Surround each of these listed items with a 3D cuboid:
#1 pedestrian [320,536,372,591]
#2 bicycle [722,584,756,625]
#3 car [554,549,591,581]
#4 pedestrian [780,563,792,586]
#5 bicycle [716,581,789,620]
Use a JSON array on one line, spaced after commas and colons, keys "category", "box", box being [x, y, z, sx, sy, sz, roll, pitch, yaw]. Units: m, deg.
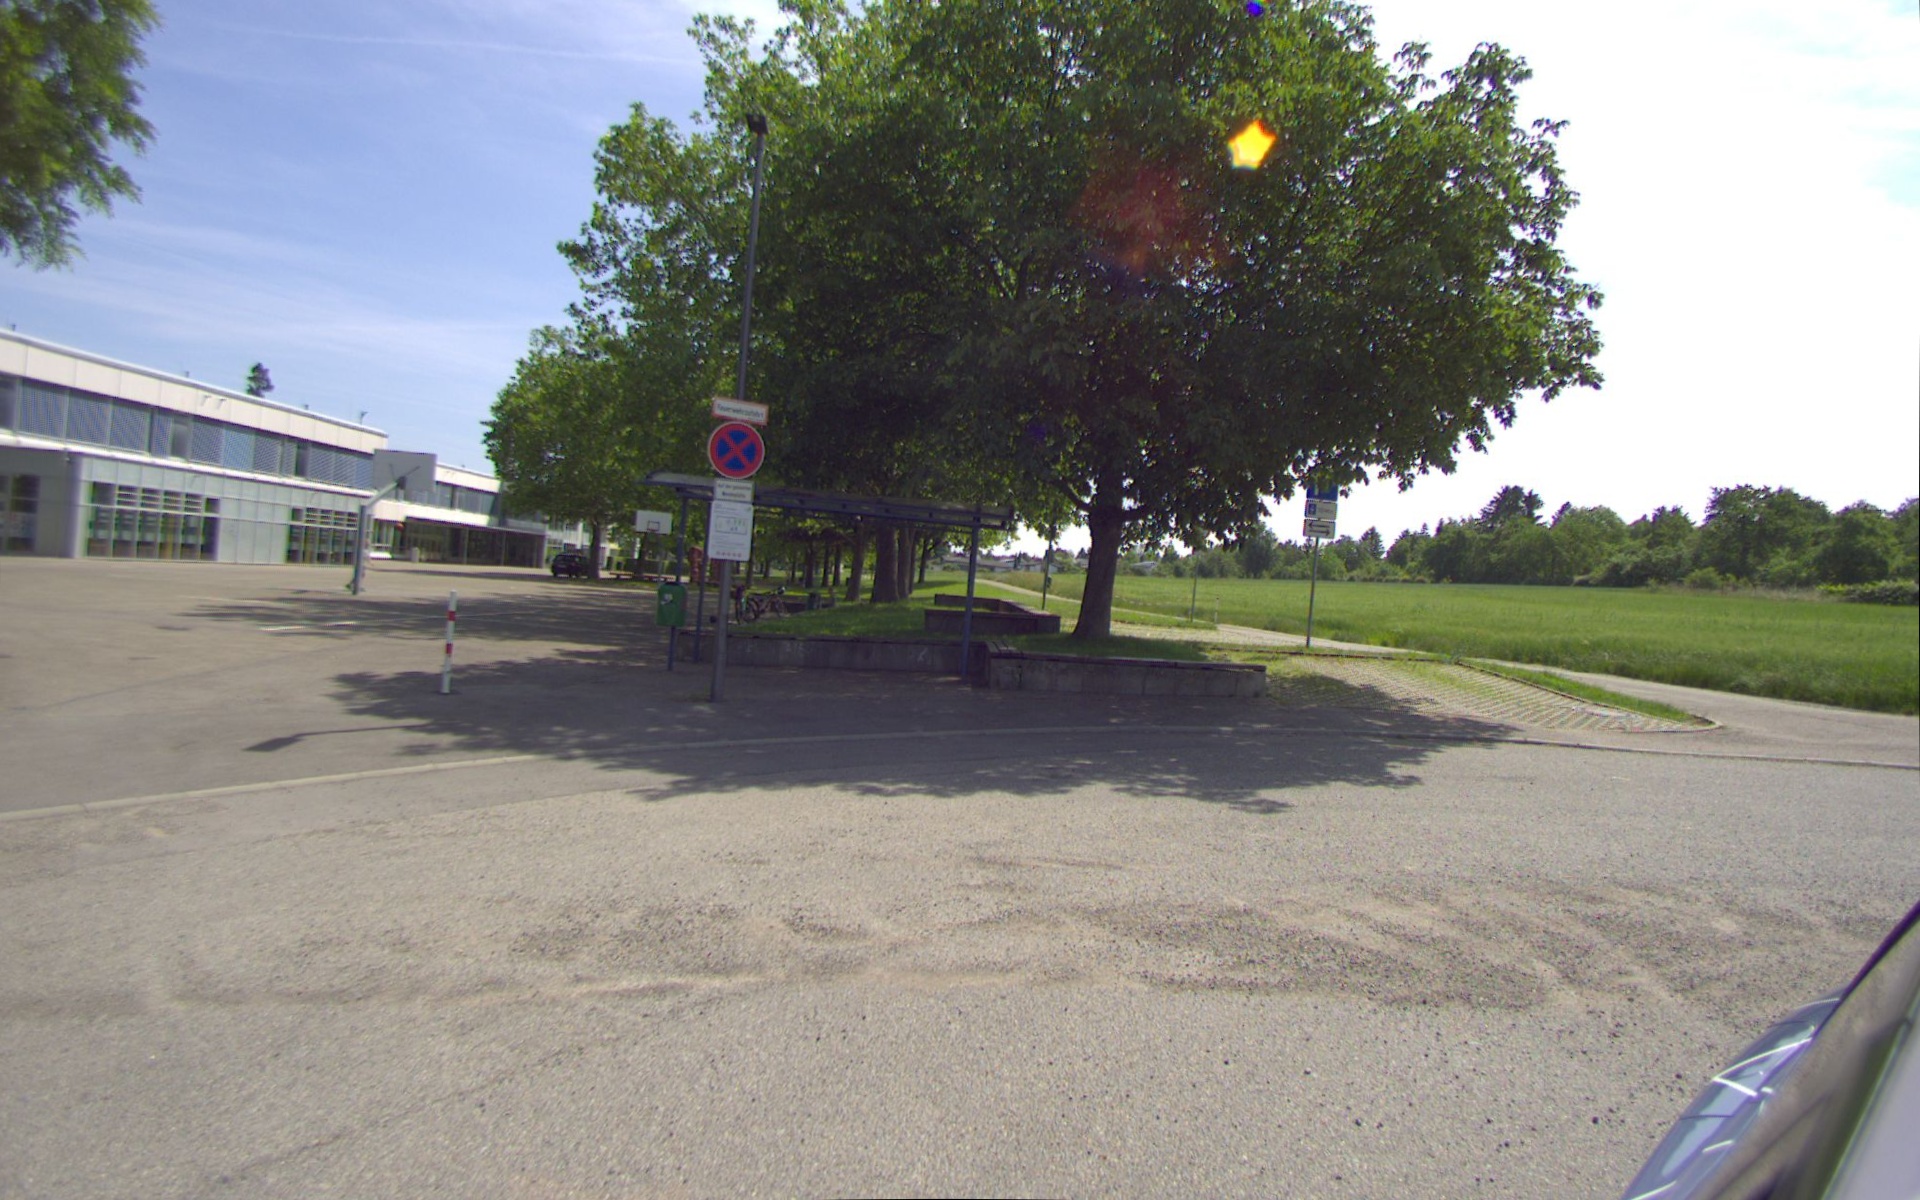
[{"category": "pedestrian", "box": [-17.250, -1.020, 28.458, 1.047, 1.441, 0.921, 4, 0, -25]}, {"category": "bicycle", "box": [-6.019, 0.093, 27.647, 0.585, 1.052, 1.894, 2, 1, -3]}, {"category": "car", "box": [-24.480, -2.202, 64.021, 1.661, 1.857, 3.418, 3, 0, -13]}, {"category": "pedestrian", "box": [-16.071, -2.334, 93.566, 0.818, 2.039, 0.693, 4, 0, -26]}, {"category": "bicycle", "box": [-6.107, 0.024, 29.806, 2.025, 1.052, 0.573, 2, 0, -18]}]
